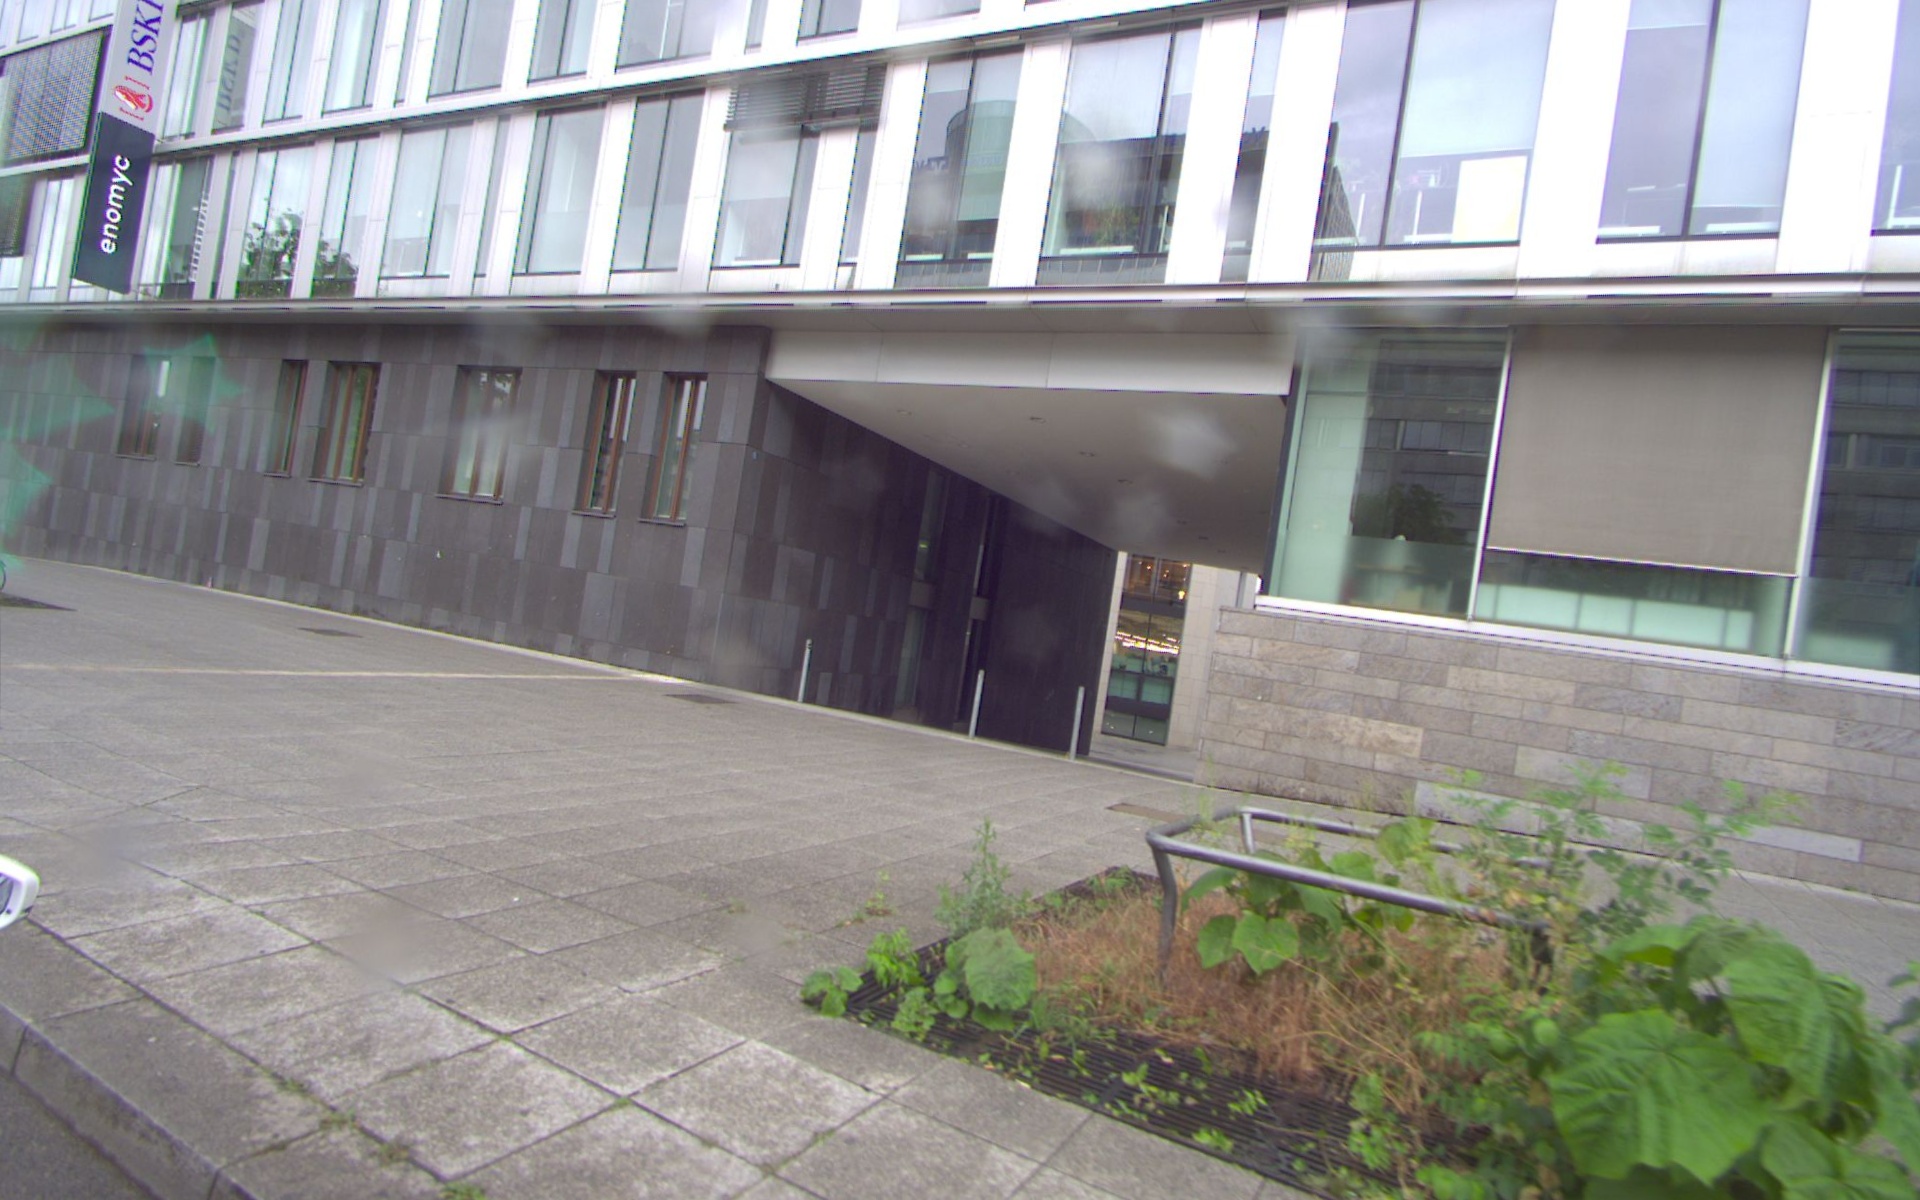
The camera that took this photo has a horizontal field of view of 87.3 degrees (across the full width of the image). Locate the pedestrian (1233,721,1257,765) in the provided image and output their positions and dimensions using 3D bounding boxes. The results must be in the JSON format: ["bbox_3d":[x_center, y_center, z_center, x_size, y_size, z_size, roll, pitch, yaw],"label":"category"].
[{"bbox_3d":[12.410,6.213,43.793,0.689,1.795,0.593,7,-3,24],"label":"pedestrian"}]

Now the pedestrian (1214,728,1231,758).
[{"bbox_3d":[12.048,6.552,46.120,0.556,1.256,0.463,7,-3,24],"label":"pedestrian"}]

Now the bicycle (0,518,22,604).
[{"bbox_3d":[-12.900,-0.590,12.409,0.676,1.082,1.736,7,-1,22],"label":"bicycle"}]

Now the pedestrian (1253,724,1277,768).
[{"bbox_3d":[13.118,6.265,43.253,0.689,1.795,0.593,7,-3,24],"label":"pedestrian"}]
